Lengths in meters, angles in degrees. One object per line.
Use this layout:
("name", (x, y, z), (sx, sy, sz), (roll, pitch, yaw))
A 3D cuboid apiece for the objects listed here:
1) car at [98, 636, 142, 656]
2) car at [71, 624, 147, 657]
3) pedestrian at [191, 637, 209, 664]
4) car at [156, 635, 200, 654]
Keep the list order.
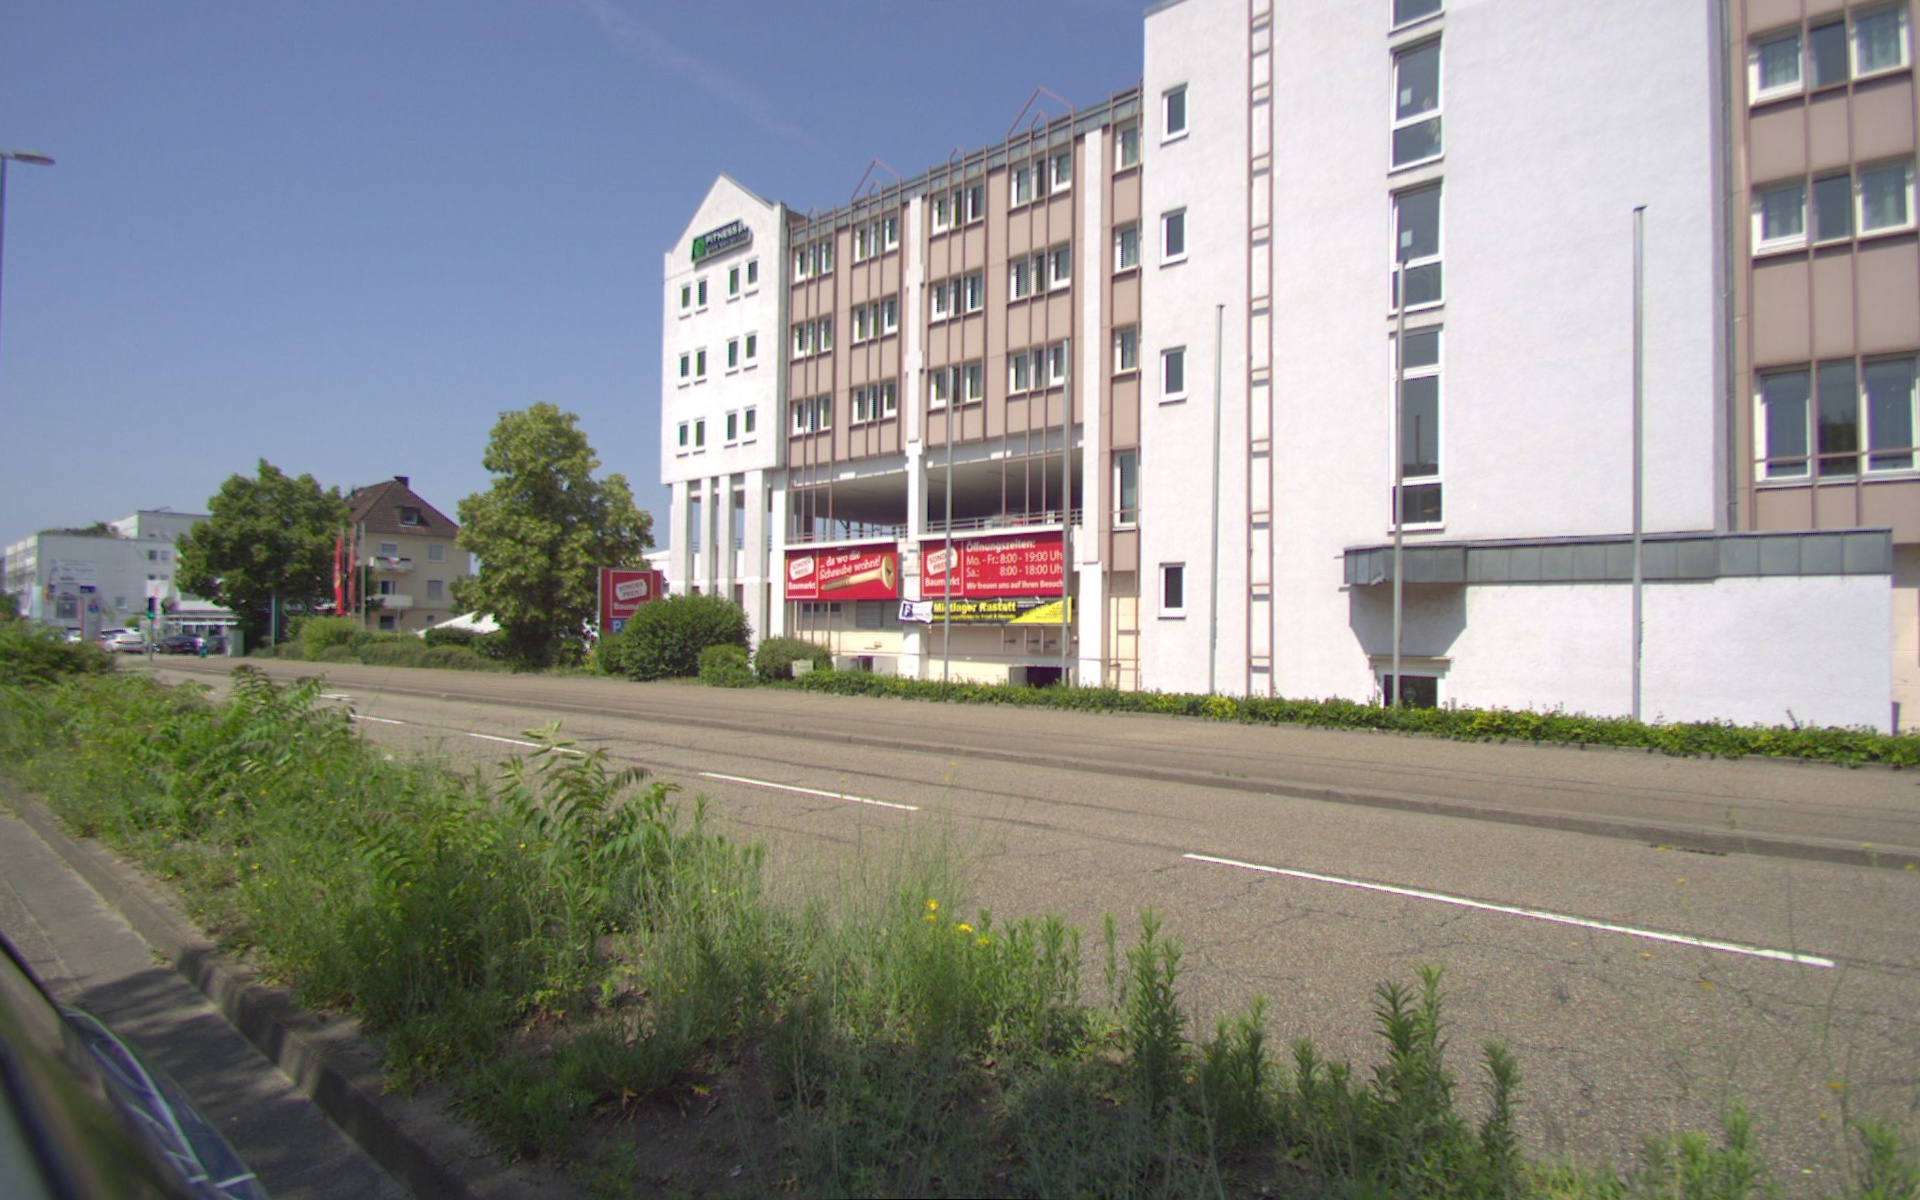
("car", (-61.233, 3.335, 73.752), (4.758, 1.421, 1.756), (-2, -4, 43))
("car", (-70.136, 3.308, 83.447), (4.498, 1.720, 1.762), (-14, 9, -42))
("pedestrian", (-50.855, 3.355, 67.708), (1.034, 1.760, 0.732), (-2, -3, 44))
("car", (-58.366, 3.328, 75.537), (3.995, 1.362, 1.715), (-2, -3, 39))
